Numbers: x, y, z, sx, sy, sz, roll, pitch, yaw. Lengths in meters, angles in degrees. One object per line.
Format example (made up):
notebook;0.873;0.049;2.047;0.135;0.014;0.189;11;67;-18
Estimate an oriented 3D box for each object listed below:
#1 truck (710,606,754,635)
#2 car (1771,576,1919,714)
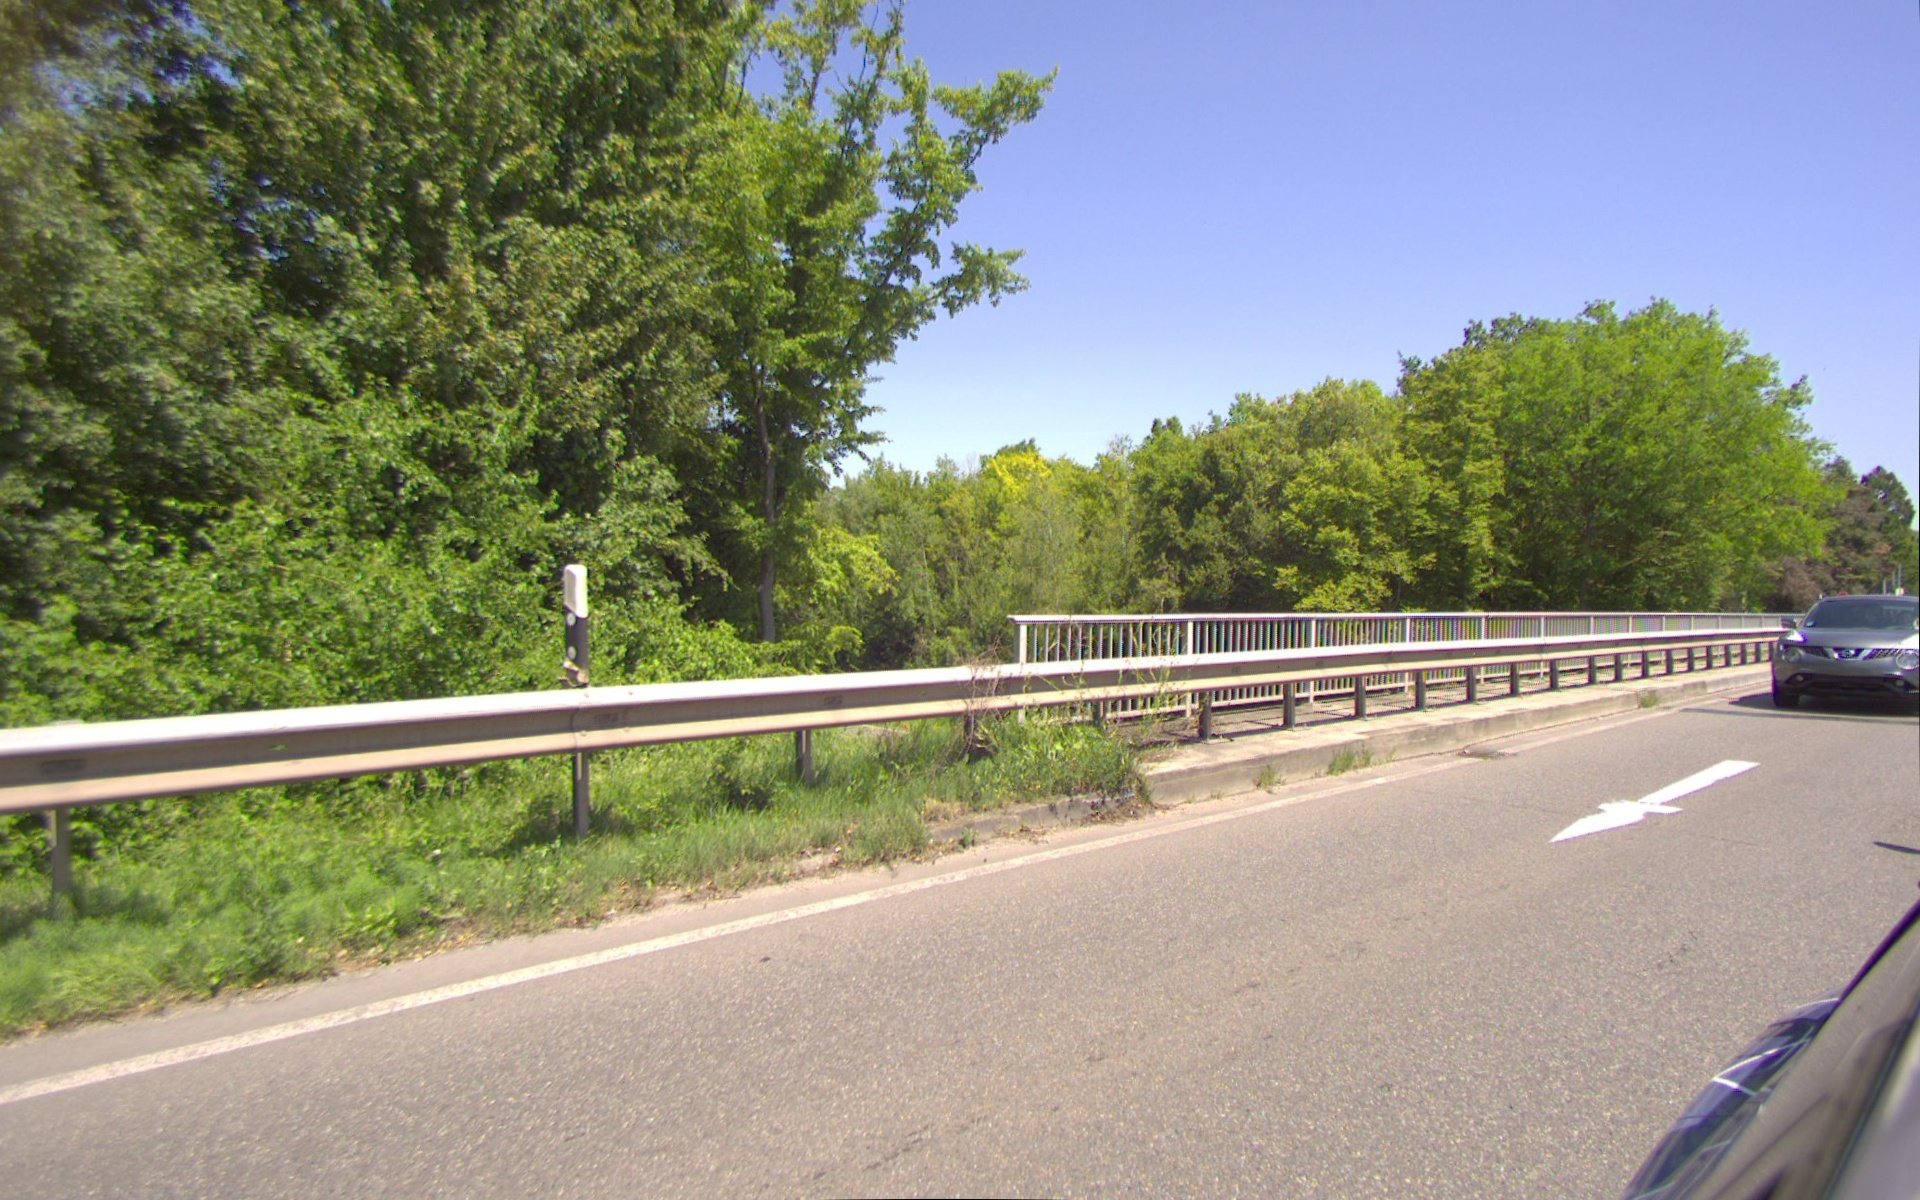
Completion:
truck;-26.319;2.313;117.155;2.089;3.121;4.897;2;1;32
car;13.032;0.548;14.243;3.930;1.706;1.847;0;1;-41
